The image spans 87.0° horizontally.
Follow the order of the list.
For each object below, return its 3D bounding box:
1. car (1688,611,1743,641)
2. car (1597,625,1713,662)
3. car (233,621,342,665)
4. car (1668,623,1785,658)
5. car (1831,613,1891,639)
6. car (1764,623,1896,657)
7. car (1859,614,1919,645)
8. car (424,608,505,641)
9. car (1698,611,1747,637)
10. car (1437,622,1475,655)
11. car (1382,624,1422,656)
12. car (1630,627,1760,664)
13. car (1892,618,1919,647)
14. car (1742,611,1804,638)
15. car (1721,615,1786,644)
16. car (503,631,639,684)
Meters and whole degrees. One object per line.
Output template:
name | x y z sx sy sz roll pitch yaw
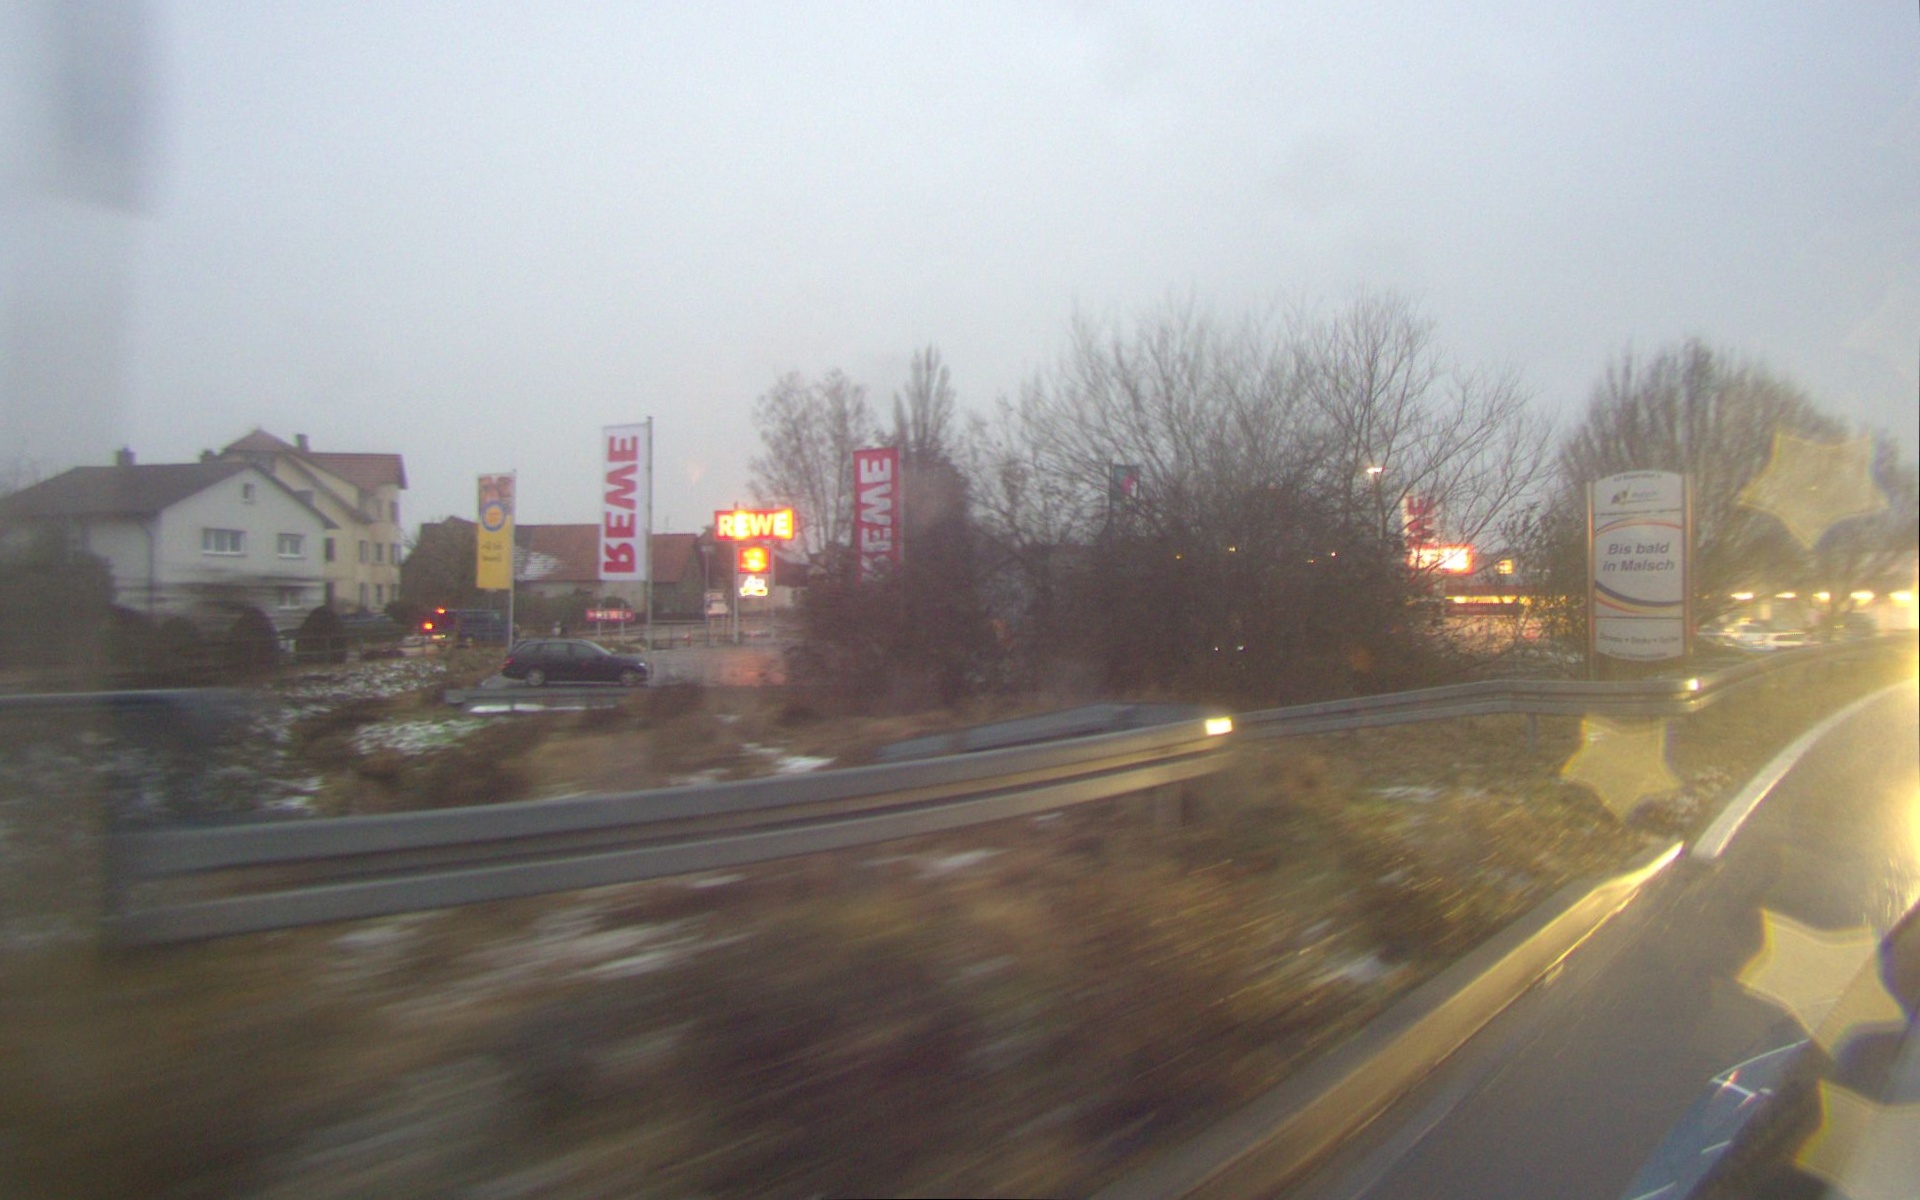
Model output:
car | 44.480 1.495 59.642 1.788 1.554 4.502 0 1 26
car | 30.519 1.874 44.560 3.959 1.438 1.617 1 1 26
car | -25.623 1.597 38.724 1.726 1.511 3.854 -2 -1 -3
car | 36.252 1.893 48.004 4.144 1.414 1.885 1 2 30
car | 57.595 1.645 64.729 1.698 1.536 3.238 -1 0 19
car | 42.959 1.940 50.131 4.668 1.414 1.883 1 2 32
car | 63.757 1.970 69.442 1.869 1.983 4.912 -1 -1 27
car | -24.961 1.202 51.084 1.886 1.511 3.701 -3 -1 9
car | 49.742 1.552 66.083 1.709 1.520 3.991 1 1 25
car | 26.068 1.979 53.117 1.729 1.443 4.276 1 1 27
car | 22.643 2.007 51.794 1.555 1.448 3.723 1 1 29
car | 33.489 2.063 46.262 4.545 1.473 1.912 0 1 29
car | 51.628 1.712 53.577 3.731 1.446 1.777 -1 1 -19
car | 53.916 1.593 67.184 1.777 1.615 3.959 1 1 17
car | 47.729 1.739 60.951 1.804 1.660 4.438 0 -1 21
car | -12.063 1.769 31.594 3.868 1.420 1.614 -1 0 -18
